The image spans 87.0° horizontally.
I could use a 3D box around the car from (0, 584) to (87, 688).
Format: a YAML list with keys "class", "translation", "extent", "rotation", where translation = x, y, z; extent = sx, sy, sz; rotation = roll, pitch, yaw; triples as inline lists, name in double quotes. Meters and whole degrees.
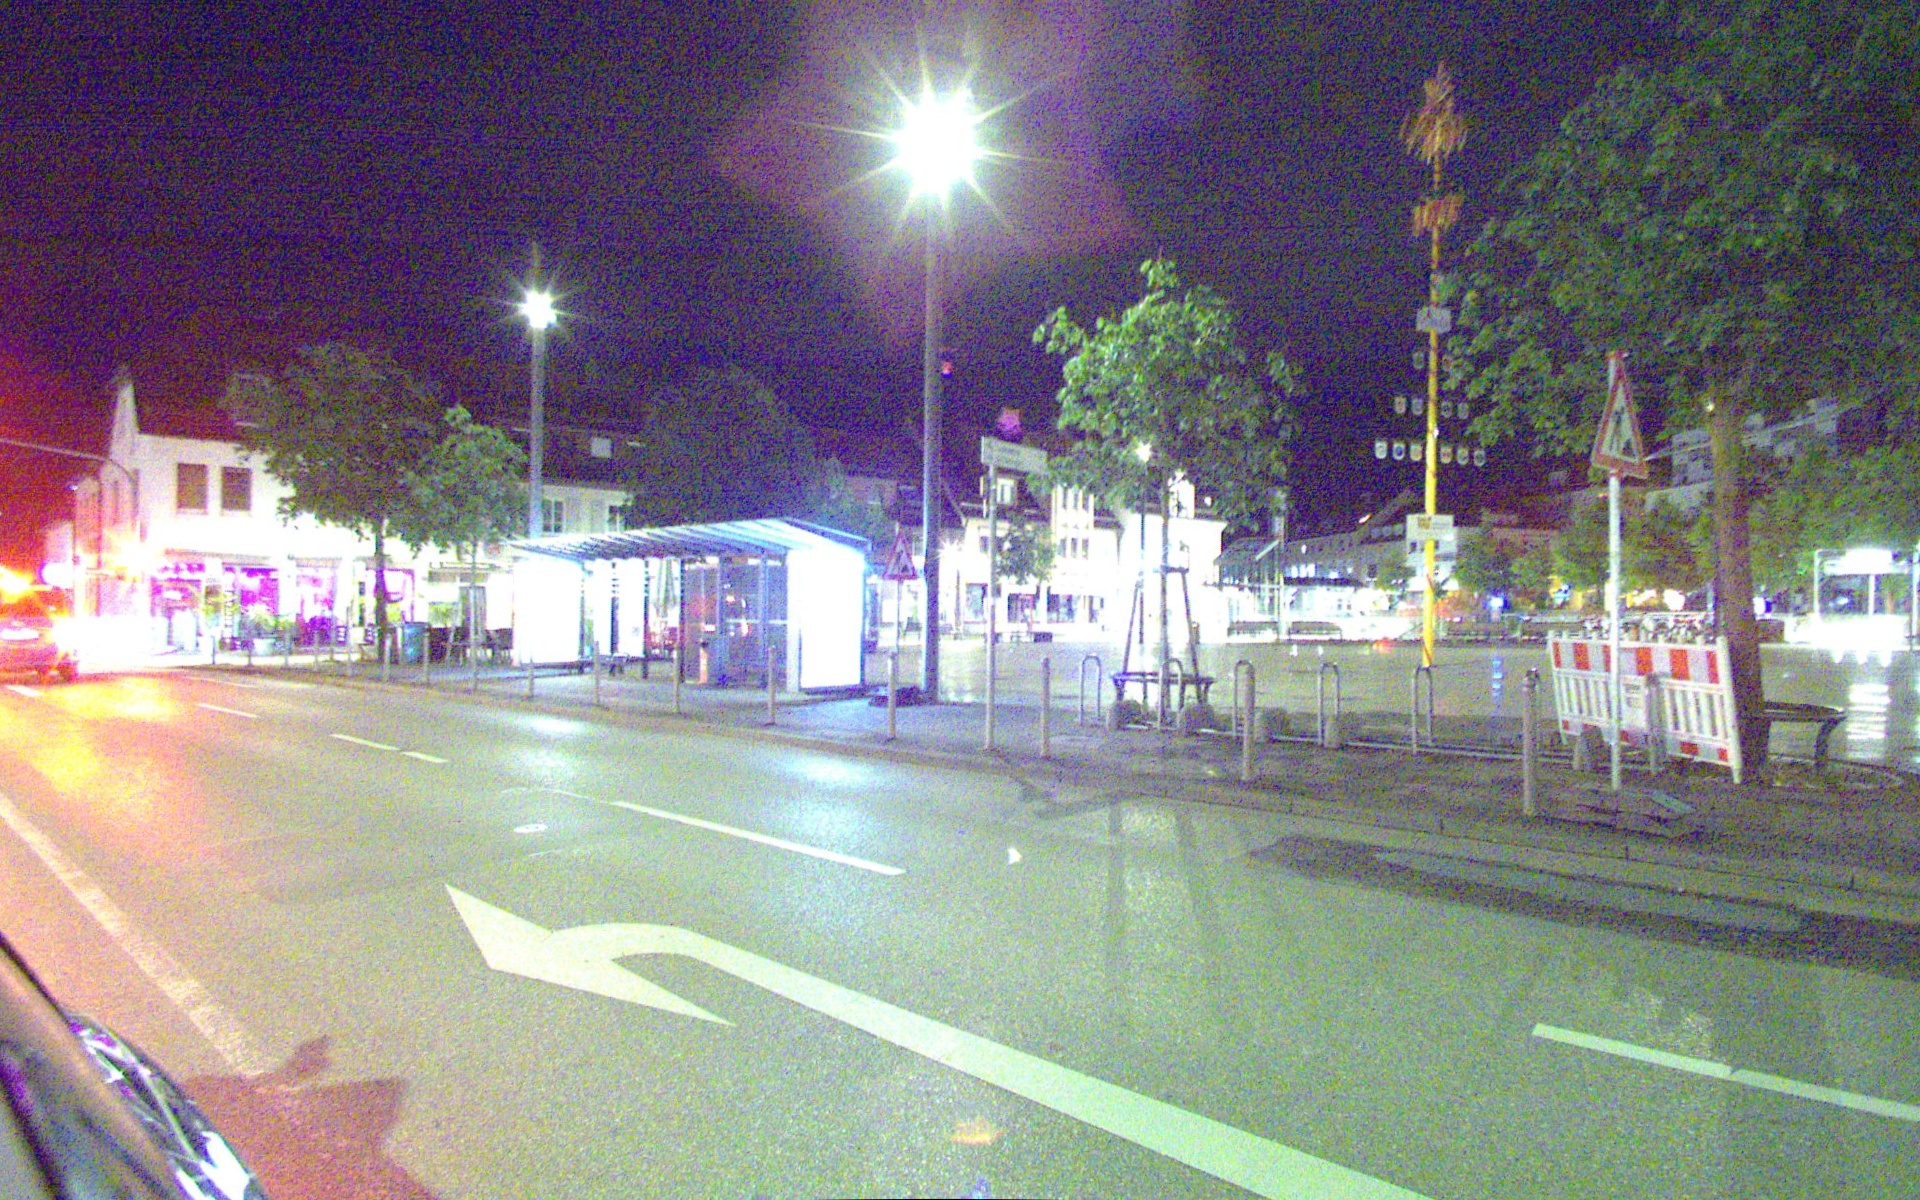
- class: "car"
  translation: [-19.108, 0.678, 20.051]
  extent: [4.907, 1.886, 1.947]
  rotation: [-1, -1, 40]

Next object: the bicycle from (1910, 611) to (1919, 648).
- class: "bicycle"
  translation: [26.413, 0.785, 26.969]
  extent: [1.525, 0.965, 0.476]
  rotation: [-1, 0, 25]
